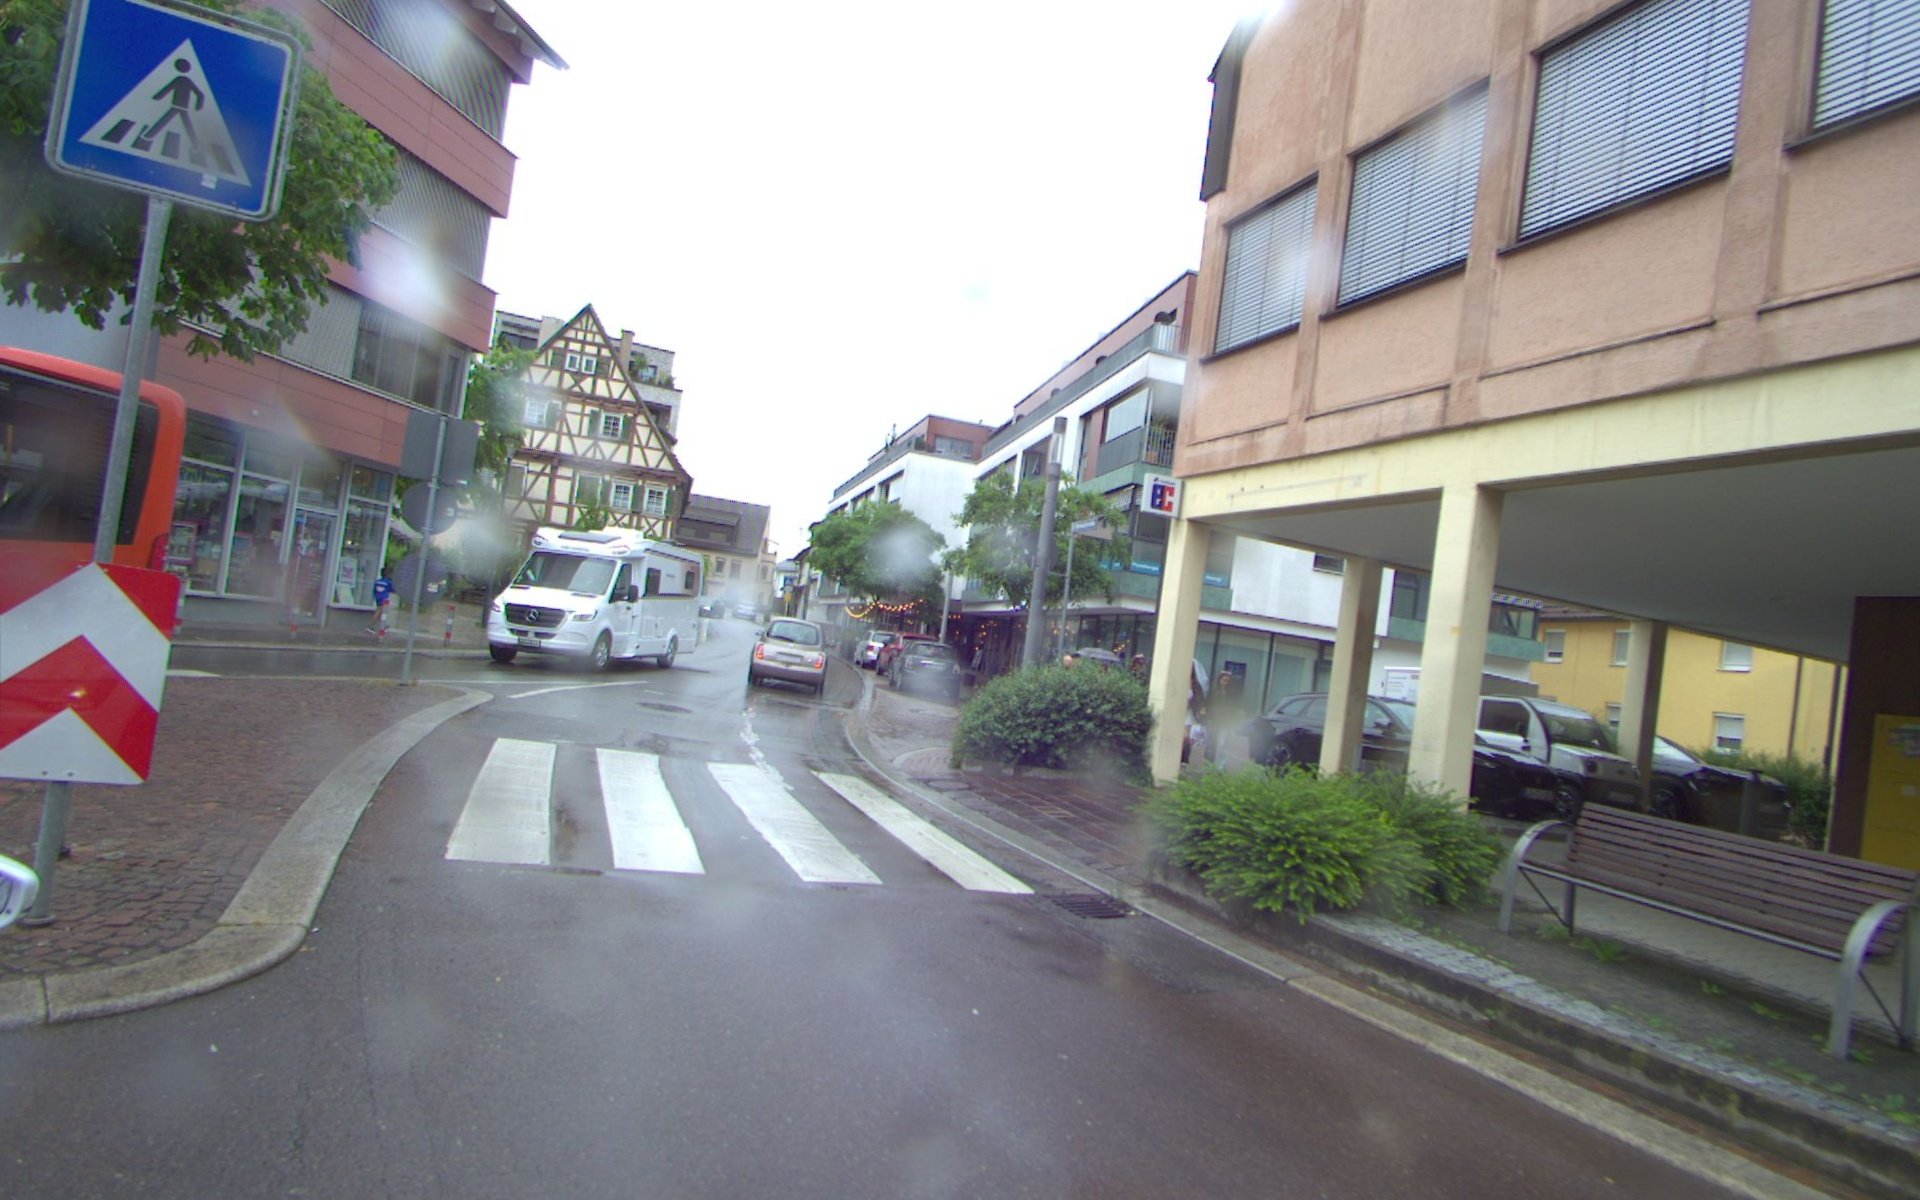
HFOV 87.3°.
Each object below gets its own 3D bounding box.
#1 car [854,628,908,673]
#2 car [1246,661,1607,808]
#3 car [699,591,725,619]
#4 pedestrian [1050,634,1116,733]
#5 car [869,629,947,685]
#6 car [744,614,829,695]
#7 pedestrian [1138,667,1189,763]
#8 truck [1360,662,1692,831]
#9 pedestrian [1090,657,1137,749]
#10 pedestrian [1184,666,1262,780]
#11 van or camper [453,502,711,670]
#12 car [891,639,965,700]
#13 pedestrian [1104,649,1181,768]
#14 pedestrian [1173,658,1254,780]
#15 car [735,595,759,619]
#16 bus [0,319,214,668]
[{"bbox_3d":[-3.080,1.909,38.625,1.593,1.430,3.994,5,-1,-10],"label":"car"},{"bbox_3d":[6.062,1.707,13.766,1.744,1.290,4.454,8,-3,-20],"label":"car"},{"bbox_3d":[-18.169,0.382,73.599,1.567,1.732,3.313,8,-3,-15],"label":"car"},{"bbox_3d":[2.362,1.595,19.375,0.726,1.768,0.889,8,-2,-21],"label":"pedestrian"},{"bbox_3d":[-1.794,1.842,33.246,1.604,1.519,3.989,5,-1,-16],"label":"car"},{"bbox_3d":[-3.815,1.174,22.569,1.501,1.487,3.340,8,-2,-6],"label":"car"},{"bbox_3d":[3.417,1.923,16.915,0.490,1.526,0.489,8,-1,-17],"label":"pedestrian"},{"bbox_3d":[8.199,2.055,15.024,1.744,1.828,3.983,8,-2,-21],"label":"truck"},{"bbox_3d":[2.967,1.987,19.459,0.534,1.682,0.519,8,-1,-18],"label":"pedestrian"},{"bbox_3d":[4.166,1.934,16.013,0.949,1.657,0.735,7,-2,10],"label":"pedestrian"},{"bbox_3d":[-7.440,-0.085,20.976,2.401,2.614,6.758,8,-2,1],"label":"van or camper"},{"bbox_3d":[-0.939,1.903,28.113,1.516,1.377,3.371,8,-3,-9],"label":"car"},{"bbox_3d":[2.811,1.659,15.541,0.688,1.680,0.818,8,-2,-17],"label":"pedestrian"},{"bbox_3d":[3.844,1.798,15.296,0.715,1.709,0.729,8,-2,-23],"label":"pedestrian"},{"bbox_3d":[-17.651,0.582,83.168,1.654,1.732,3.315,8,-3,-13],"label":"car"},{"bbox_3d":[-11.800,-1.512,6.698,2.773,3.122,10.606,5,-4,28],"label":"bus"}]
